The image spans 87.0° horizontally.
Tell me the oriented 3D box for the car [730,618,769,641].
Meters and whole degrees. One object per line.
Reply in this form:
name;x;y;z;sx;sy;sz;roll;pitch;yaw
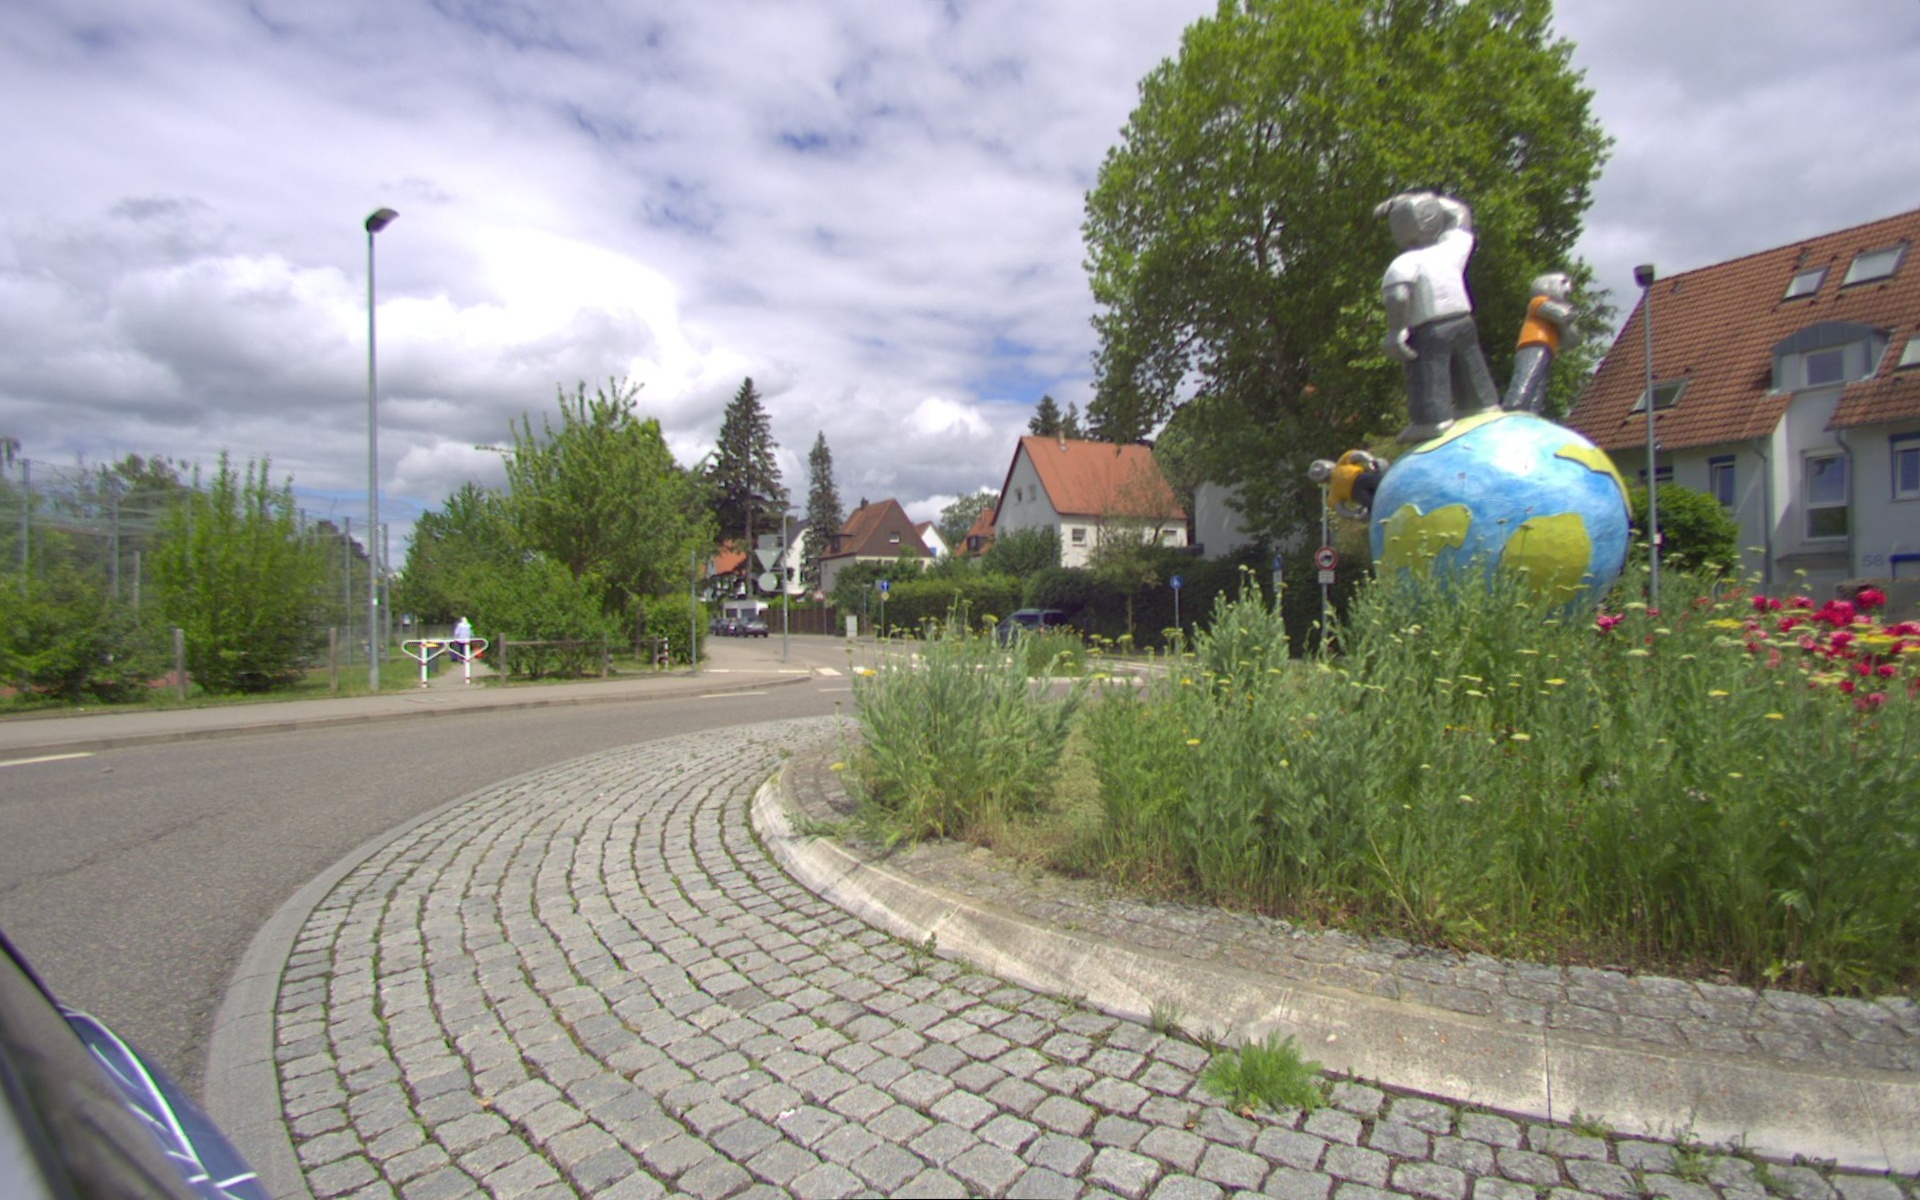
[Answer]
car;-15.784;2.211;75.698;1.831;1.589;4.013;-1;0;-27

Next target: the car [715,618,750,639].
car;-18.136;2.262;80.613;1.757;1.589;4.013;-1;0;-27

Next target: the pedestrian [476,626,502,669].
pedestrian;-17.406;1.745;37.386;0.752;1.569;0.603;0;0;-36

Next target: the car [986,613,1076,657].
car;2.821;1.379;41.175;1.653;1.674;4.012;1;-1;-31

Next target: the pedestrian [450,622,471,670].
pedestrian;-18.185;1.678;36.843;0.598;1.710;0.568;0;0;-36
